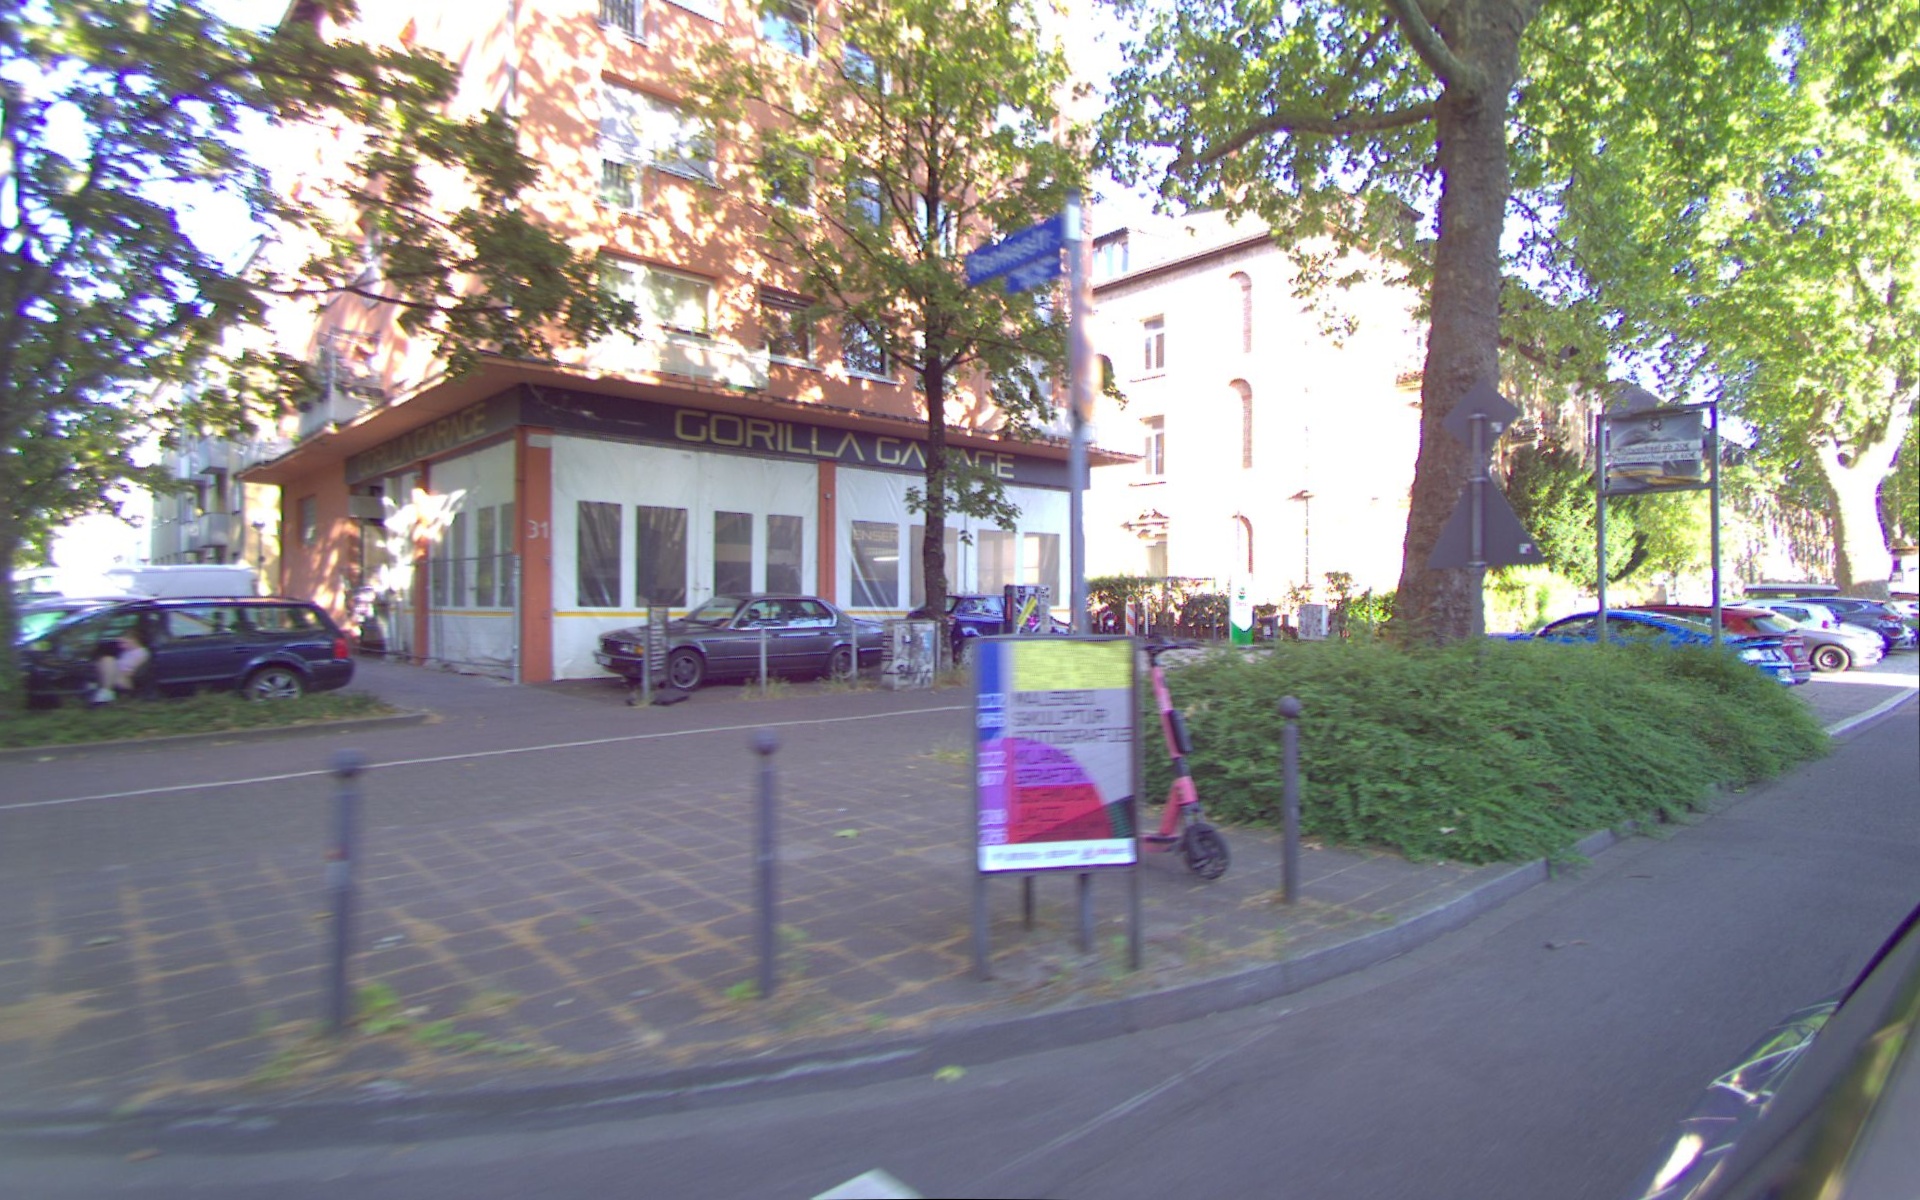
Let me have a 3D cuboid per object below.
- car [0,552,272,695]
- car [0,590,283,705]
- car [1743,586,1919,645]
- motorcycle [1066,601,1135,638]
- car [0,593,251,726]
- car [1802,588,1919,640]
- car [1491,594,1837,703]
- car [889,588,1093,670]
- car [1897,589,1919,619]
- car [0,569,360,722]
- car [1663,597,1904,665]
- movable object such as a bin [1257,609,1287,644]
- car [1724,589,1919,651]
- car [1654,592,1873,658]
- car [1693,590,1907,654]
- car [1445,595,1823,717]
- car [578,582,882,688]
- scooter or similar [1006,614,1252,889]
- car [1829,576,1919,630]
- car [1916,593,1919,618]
[{"bbox_3d":[-14.791,0.351,17.085,5.002,2.212,1.913,0,0,-45],"label":"car"},{"bbox_3d":[-13.253,0.655,15.544,1.789,1.594,4.504,0,0,44],"label":"car"},{"bbox_3d":[26.531,0.428,30.614,1.785,1.639,4.209,0,0,-39],"label":"car"},{"bbox_3d":[4.457,0.589,32.319,0.792,1.117,2.386,0,0,-34],"label":"motorcycle"},{"bbox_3d":[-12.048,0.716,13.040,1.788,1.594,4.507,0,0,43],"label":"car"},{"bbox_3d":[31.534,0.462,34.789,1.760,1.639,3.786,0,1,-43],"label":"car"},{"bbox_3d":[11.584,0.689,16.930,1.916,1.562,4.413,0,0,-39],"label":"car"},{"bbox_3d":[0.672,0.496,19.865,3.881,1.453,1.751,0,1,-41],"label":"car"},{"bbox_3d":[55.221,0.247,55.998,1.860,1.652,4.807,1,0,-41],"label":"car"},{"bbox_3d":[-9.908,0.460,12.002,1.788,1.594,4.507,0,0,43],"label":"car"},{"bbox_3d":[19.444,0.656,24.039,1.786,1.466,4.206,0,0,-41],"label":"car"},{"bbox_3d":[8.590,0.723,27.860,0.438,0.952,0.659,-1,1,-36],"label":"movable object such as a bin"},{"bbox_3d":[24.569,0.517,28.891,1.847,1.639,4.203,0,0,-44],"label":"car"},{"bbox_3d":[20.880,0.587,26.451,1.785,1.575,4.209,0,0,-39],"label":"car"},{"bbox_3d":[22.709,0.530,27.500,1.785,1.594,4.209,0,0,-39],"label":"car"},{"bbox_3d":[9.912,0.706,15.256,1.783,1.562,4.418,0,0,-34],"label":"car"},{"bbox_3d":[-3.510,0.455,15.955,4.390,1.453,1.751,0,1,-41],"label":"car"},{"bbox_3d":[0.867,0.720,5.383,0.560,1.255,1.209,0,1,-43],"label":"scooter or similar"},{"bbox_3d":[37.996,0.120,40.394,2.158,2.039,4.850,0,1,-44],"label":"car"},{"bbox_3d":[60.608,0.396,60.651,1.858,1.513,4.612,1,0,-38],"label":"car"}]
